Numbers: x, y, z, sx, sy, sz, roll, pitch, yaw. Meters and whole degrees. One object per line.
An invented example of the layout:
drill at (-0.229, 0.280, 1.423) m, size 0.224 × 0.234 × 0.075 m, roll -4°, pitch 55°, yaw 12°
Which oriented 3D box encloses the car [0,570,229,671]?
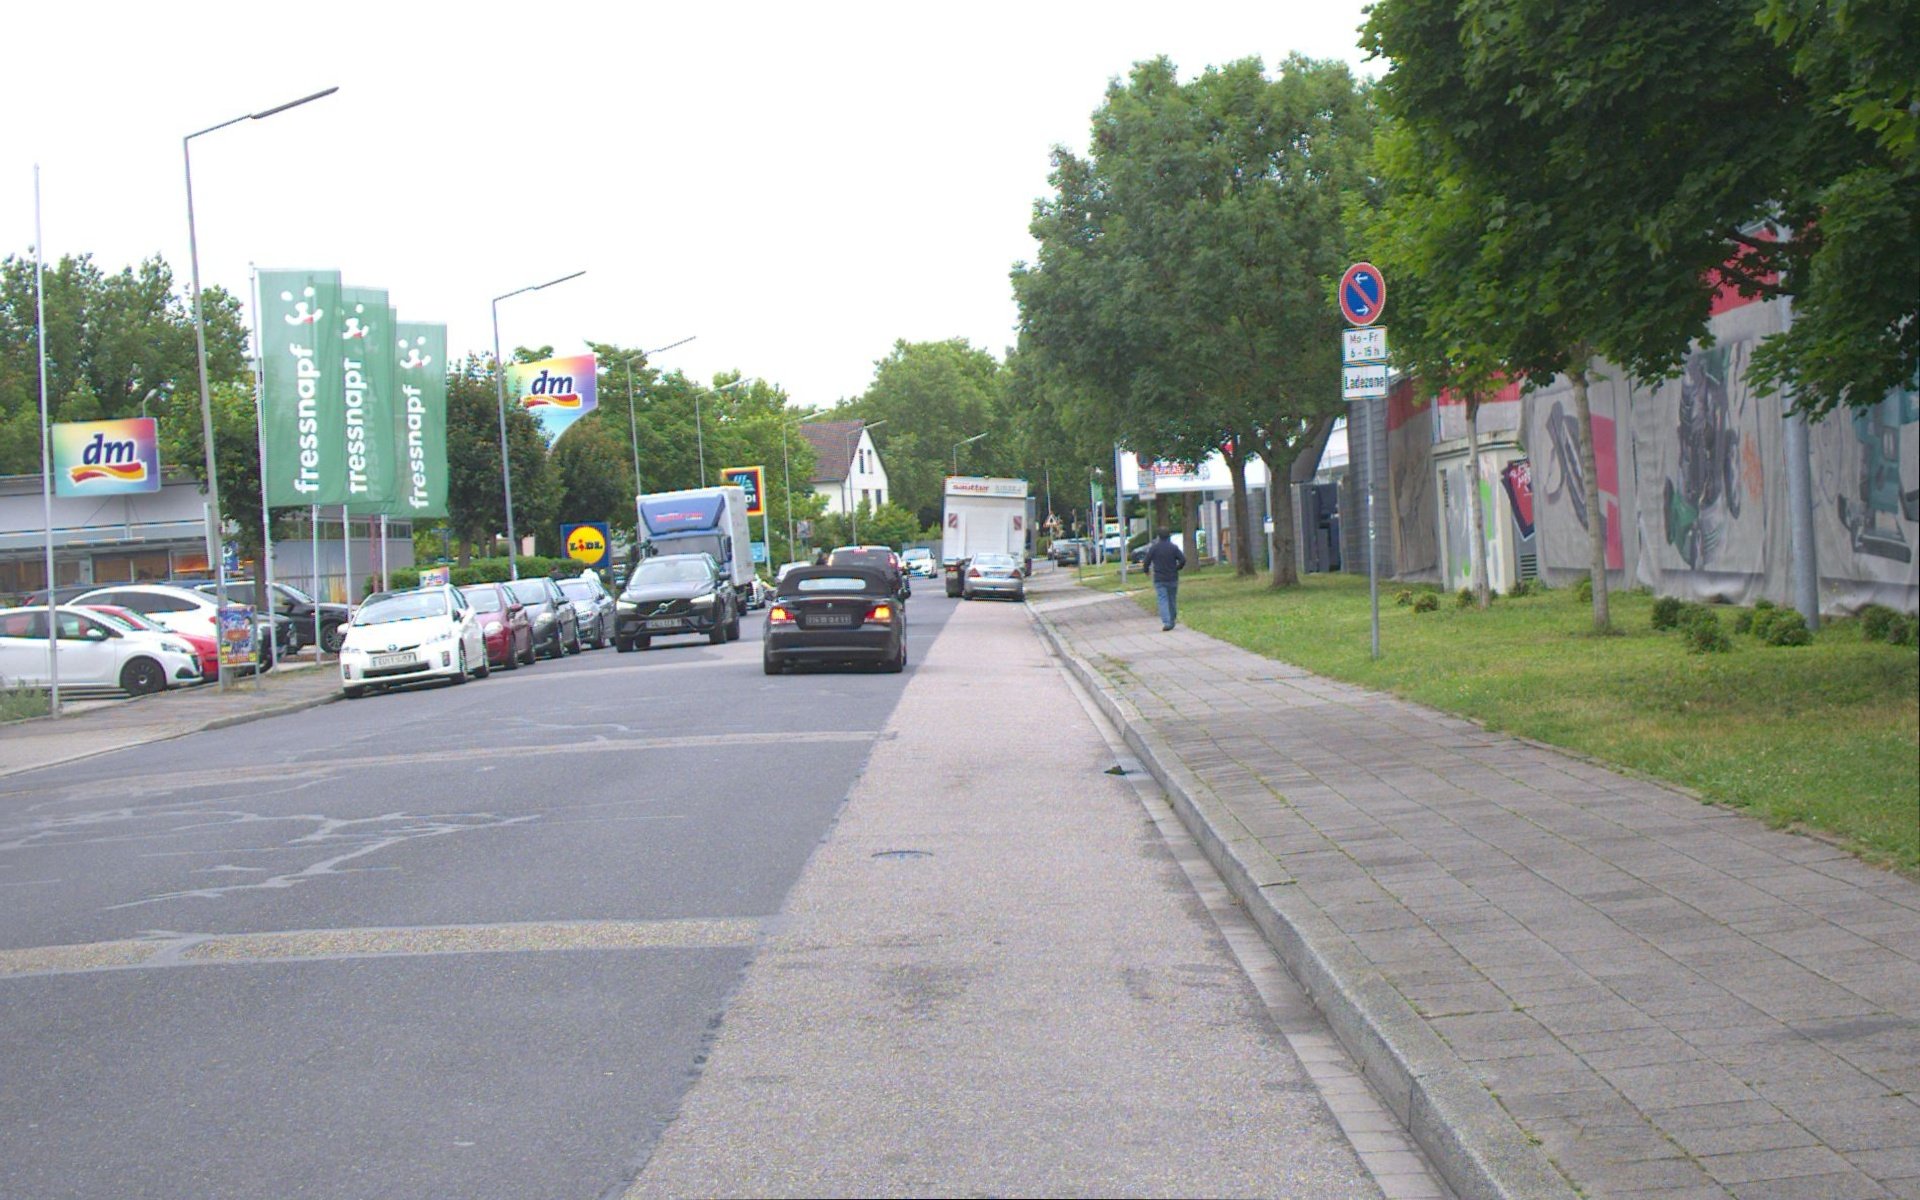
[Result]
car at (-14.609, 0.350, 58.073) m, size 4.135 × 1.458 × 1.899 m, roll -4°, pitch 1°, yaw -4°

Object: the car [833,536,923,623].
car at (-1.683, -0.426, 69.494) m, size 1.681 × 1.626 × 3.759 m, roll -3°, pitch 1°, yaw -2°

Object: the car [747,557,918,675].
car at (-1.590, 0.183, 44.171) m, size 1.745 × 1.354 × 4.137 m, roll -3°, pitch 0°, yaw 3°

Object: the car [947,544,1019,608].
car at (0.655, -0.710, 101.493) m, size 1.993 × 1.800 × 4.000 m, roll -2°, pitch 0°, yaw -1°

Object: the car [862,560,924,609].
car at (-2.230, -0.530, 115.134) m, size 1.886 × 1.526 × 4.254 m, roll -1°, pitch 1°, yaw 1°

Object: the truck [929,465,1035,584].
truck at (0.618, -2.355, 110.718) m, size 3.135 × 3.572 × 10.051 m, roll -2°, pitch 0°, yaw -1°

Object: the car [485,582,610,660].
car at (-8.228, 0.392, 68.824) m, size 1.898 × 1.362 × 4.000 m, roll -3°, pitch 1°, yaw 1°

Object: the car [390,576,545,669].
car at (-8.187, 0.343, 57.432) m, size 1.898 × 1.362 × 4.000 m, roll -3°, pitch 1°, yaw 1°

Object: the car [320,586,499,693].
car at (-8.109, 0.559, 50.952) m, size 1.898 × 1.362 × 4.000 m, roll -3°, pitch 1°, yaw 1°

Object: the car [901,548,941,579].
car at (-2.020, -1.926, 179.379) m, size 1.886 × 1.526 × 4.254 m, roll -1°, pitch 1°, yaw 1°

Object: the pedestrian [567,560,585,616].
pedestrian at (-10.726, -0.344, 96.097) m, size 0.401 × 1.526 × 0.485 m, roll -4°, pitch 1°, yaw -5°

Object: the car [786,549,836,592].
car at (-5.501, -1.086, 127.281) m, size 1.705 × 1.541 × 3.621 m, roll -2°, pitch 0°, yaw -1°

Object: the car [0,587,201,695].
car at (-14.019, 0.659, 53.130) m, size 4.202 × 1.458 × 1.953 m, roll -4°, pitch 1°, yaw -7°

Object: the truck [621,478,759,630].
truck at (-7.545, -1.313, 96.938) m, size 2.974 × 3.942 × 6.404 m, roll -5°, pitch 1°, yaw 1°

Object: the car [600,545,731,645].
car at (-5.253, -0.089, 61.803) m, size 1.993 × 1.678 × 4.000 m, roll -2°, pitch 0°, yaw -1°

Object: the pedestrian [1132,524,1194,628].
pedestrian at (3.232, -0.381, 54.755) m, size 0.919 × 1.629 × 0.852 m, roll -2°, pitch 0°, yaw 3°

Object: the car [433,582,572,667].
car at (-8.340, 0.425, 62.947) m, size 1.898 × 1.362 × 4.000 m, roll -3°, pitch 1°, yaw 1°

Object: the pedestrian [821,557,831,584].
pedestrian at (-4.917, -1.085, 125.901) m, size 0.250 × 0.972 × 0.343 m, roll -2°, pitch 0°, yaw 16°
